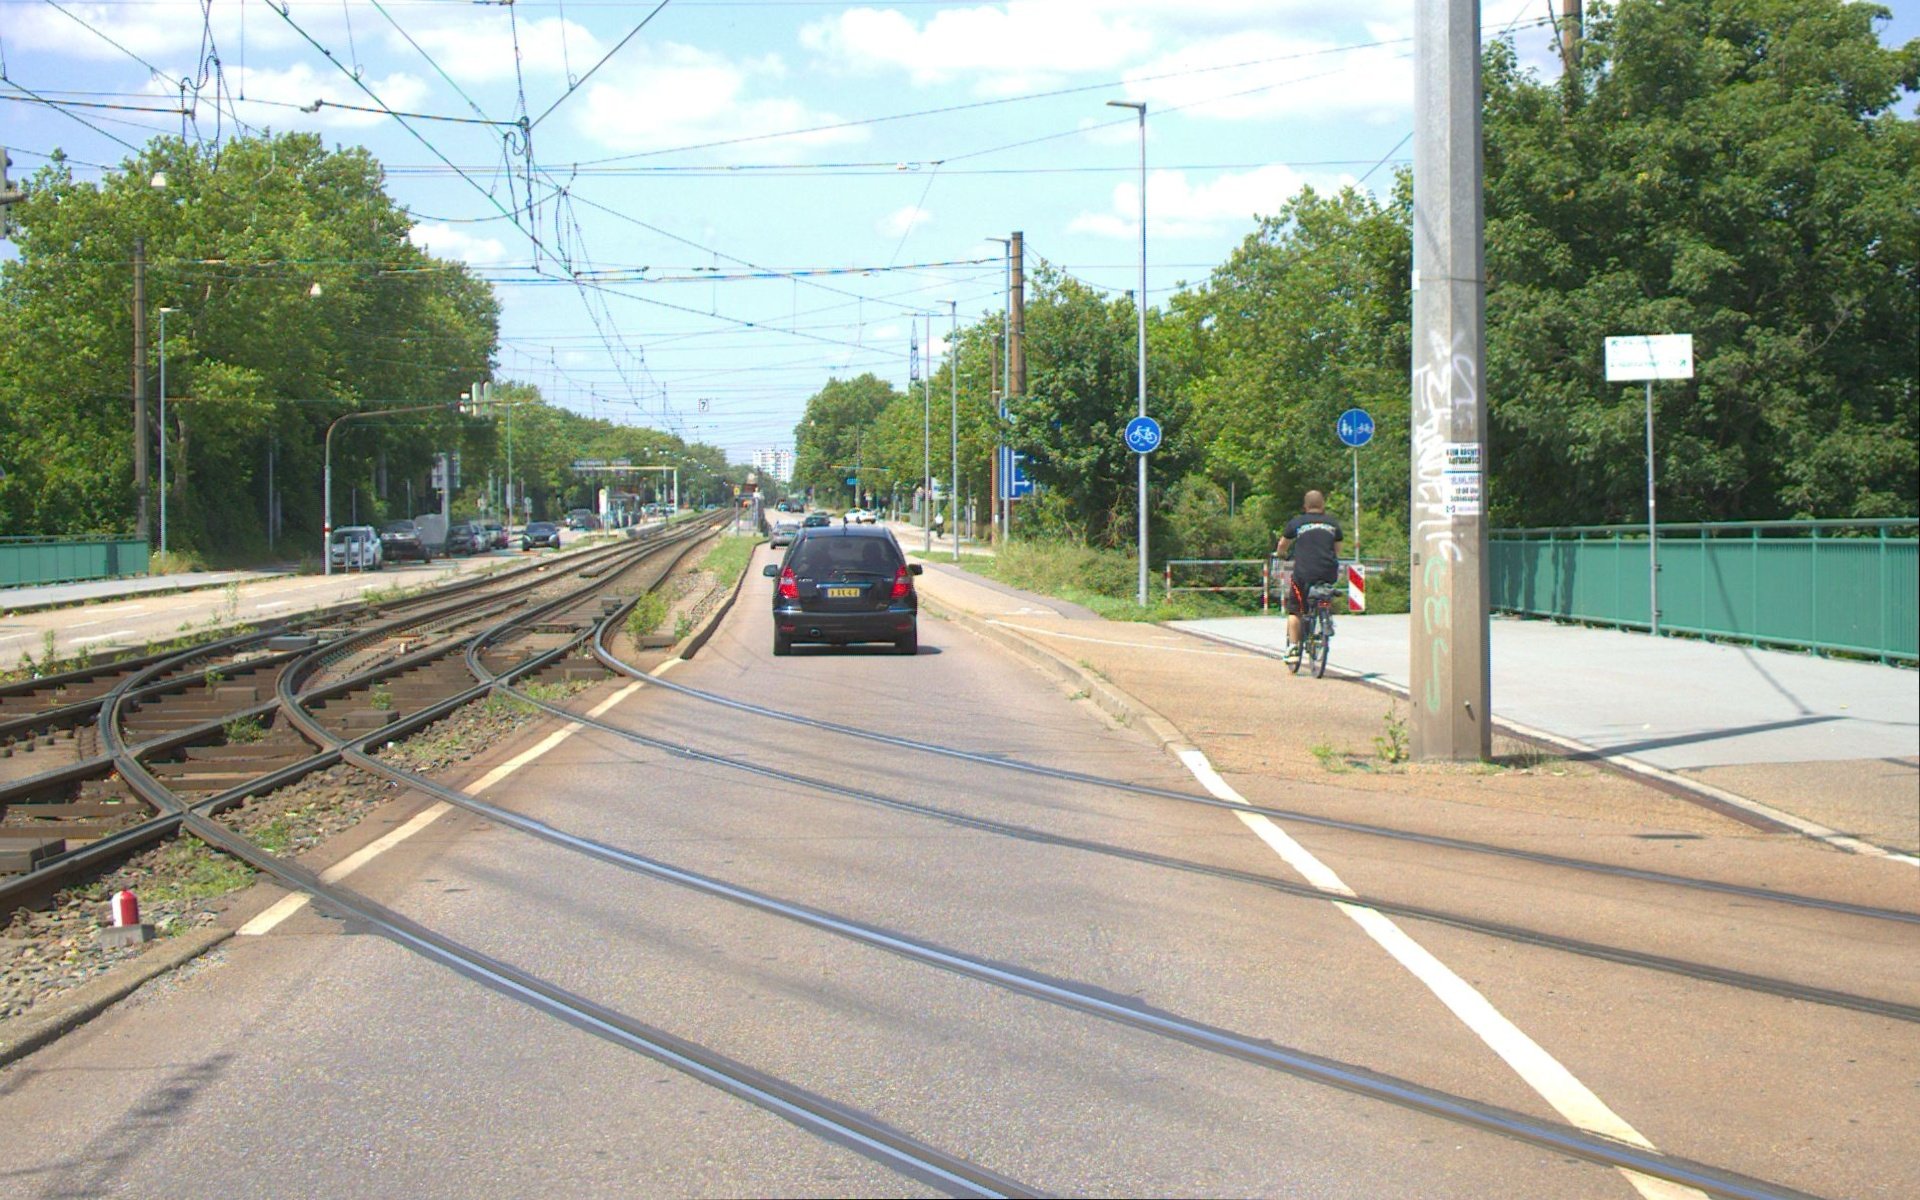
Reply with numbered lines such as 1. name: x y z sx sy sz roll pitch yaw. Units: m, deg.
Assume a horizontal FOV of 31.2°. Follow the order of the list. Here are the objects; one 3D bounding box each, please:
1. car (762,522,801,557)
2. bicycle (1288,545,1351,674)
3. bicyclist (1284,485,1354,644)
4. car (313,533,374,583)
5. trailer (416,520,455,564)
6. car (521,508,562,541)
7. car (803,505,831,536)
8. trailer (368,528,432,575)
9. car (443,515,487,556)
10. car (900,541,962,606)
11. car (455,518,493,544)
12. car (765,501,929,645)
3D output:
1. car: -9.325 -3.168 180.059 1.884 1.634 4.001 4 2 -2
2. bicycle: 3.434 0.072 32.889 0.432 1.148 1.855 2 2 2
3. bicyclist: 3.435 -0.345 32.921 0.585 1.489 0.558 2 2 2
4. car: -22.924 -1.564 127.934 1.719 1.625 4.617 -3 3 -4
5. trailer: -25.015 -2.777 163.950 1.609 2.006 3.917 1 2 -6
6. car: -22.595 -4.065 185.693 1.875 1.714 5.331 0 1 -4
7. car: -9.862 -5.500 236.753 1.786 2.006 4.001 1 2 -3
8. trailer: -23.361 -2.037 143.561 2.461 1.882 5.964 1 1 -8
9. car: -25.764 -3.390 179.139 1.854 2.006 4.001 1 2 -3
10. car: -0.988 -0.907 114.793 1.993 2.006 4.001 1 2 -1
11. car: -26.924 -3.843 190.636 1.870 1.396 4.419 1 1 -5
12. car: -1.359 -0.378 42.890 1.853 1.564 4.389 1 3 0
